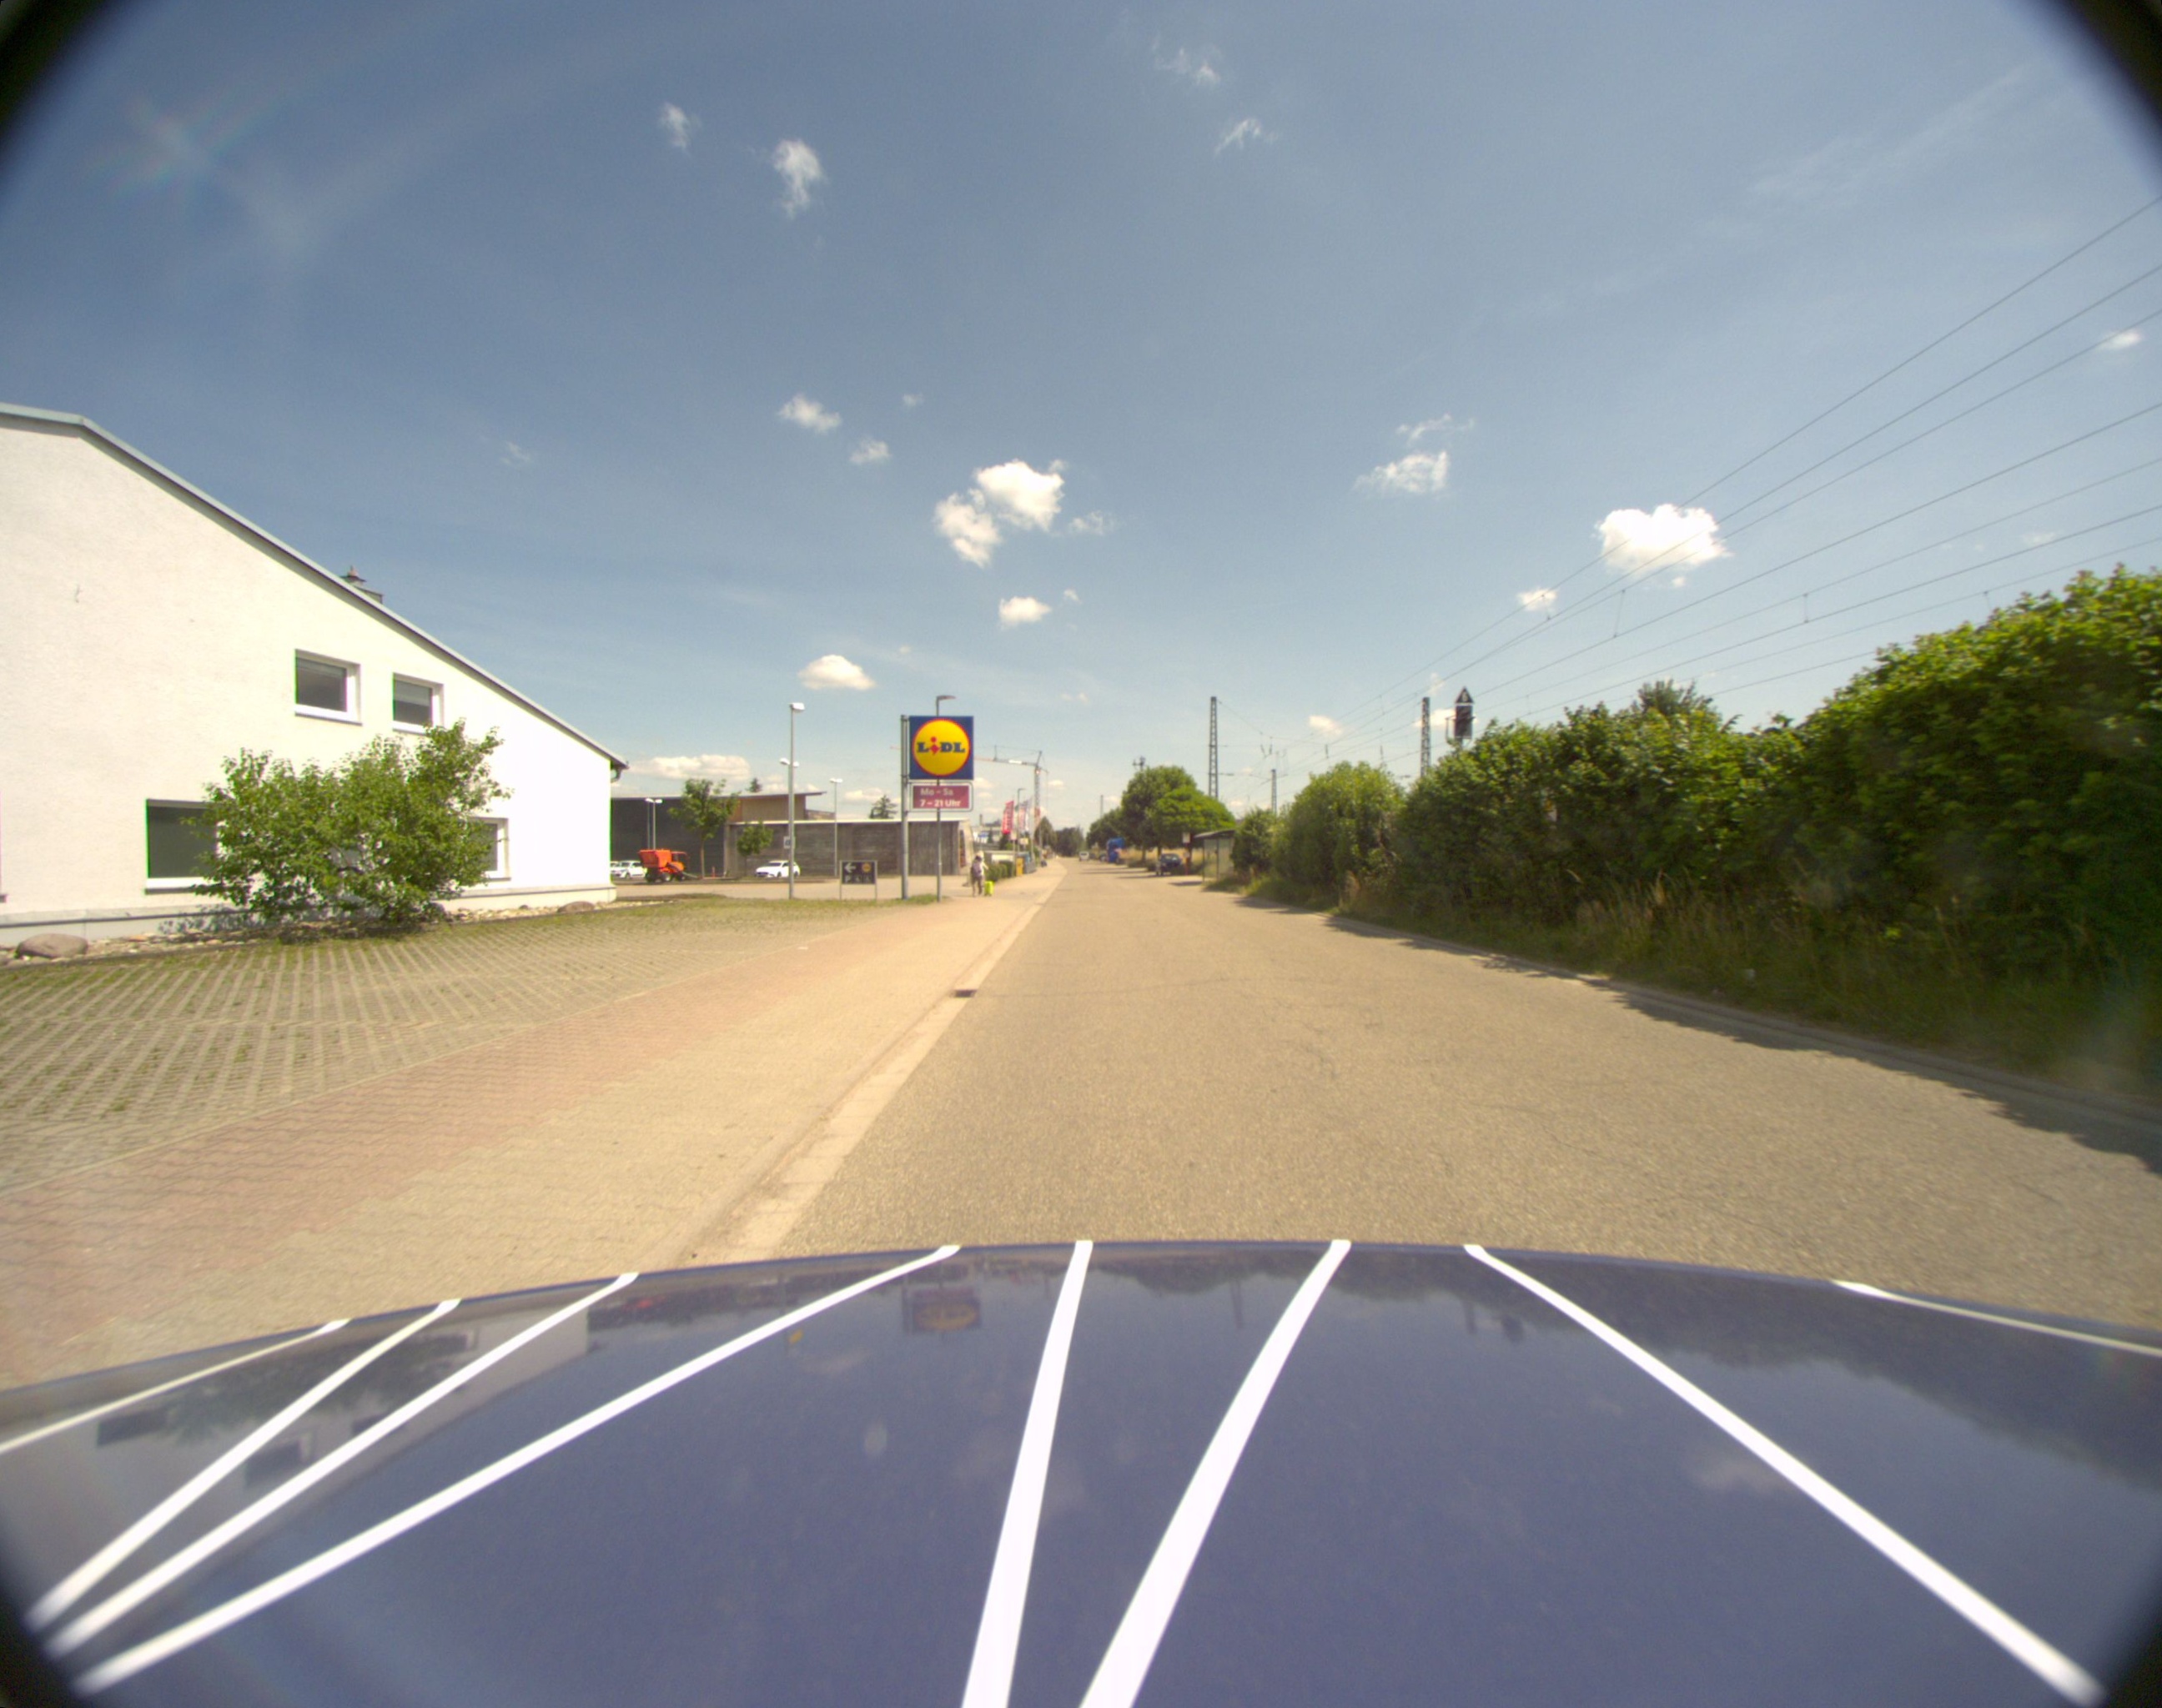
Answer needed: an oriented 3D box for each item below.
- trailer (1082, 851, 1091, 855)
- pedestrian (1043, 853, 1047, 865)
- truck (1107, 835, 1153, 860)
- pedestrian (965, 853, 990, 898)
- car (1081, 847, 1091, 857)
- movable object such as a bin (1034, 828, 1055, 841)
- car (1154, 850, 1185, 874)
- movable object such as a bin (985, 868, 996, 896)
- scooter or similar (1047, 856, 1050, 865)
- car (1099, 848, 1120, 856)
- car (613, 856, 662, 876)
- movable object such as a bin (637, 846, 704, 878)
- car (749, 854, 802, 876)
[{"bbox_3d":[1.076,-0.193,152.016,1.823,0.845,4.222,0,0,0],"label":"trailer"},{"bbox_3d":[-4.788,0.705,100.855,0.536,1.533,0.510,0,8,-3],"label":"pedestrian"},{"bbox_3d":[7.381,-0.985,114.245,6.633,3.801,2.662,0,1,-5],"label":"truck"},{"bbox_3d":[-3.776,0.761,27.849,0.763,1.592,1.210,1,1,-3],"label":"pedestrian"},{"bbox_3d":[1.054,-0.448,156.396,1.843,1.847,4.482,-1,1,-1],"label":"car"},{"bbox_3d":[-9.999,-5.371,206.650,5.134,3.277,2.390,-1,6,-19],"label":"movable object such as a bin"},{"bbox_3d":[6.374,0.557,55.052,1.746,1.587,3.578,-1,0,-2],"label":"car"},{"bbox_3d":[-3.363,1.050,28.338,0.375,1.024,0.498,0,1,-4],"label":"movable object such as a bin"},{"bbox_3d":[-4.307,0.894,100.766,0.334,1.191,0.397,0,3,-1],"label":"scooter or similar"},{"bbox_3d":[5.508,-0.398,145.839,3.954,1.442,1.787,-1,1,2],"label":"car"},{"bbox_3d":[-36.472,0.995,62.598,1.583,1.565,4.001,-1,0,3],"label":"car"},{"bbox_3d":[-29.580,0.575,54.935,1.682,2.191,4.526,1,0,12],"label":"movable object such as a bin"},{"bbox_3d":[-24.023,0.843,59.984,1.997,1.652,4.441,-1,-1,6],"label":"car"}]
